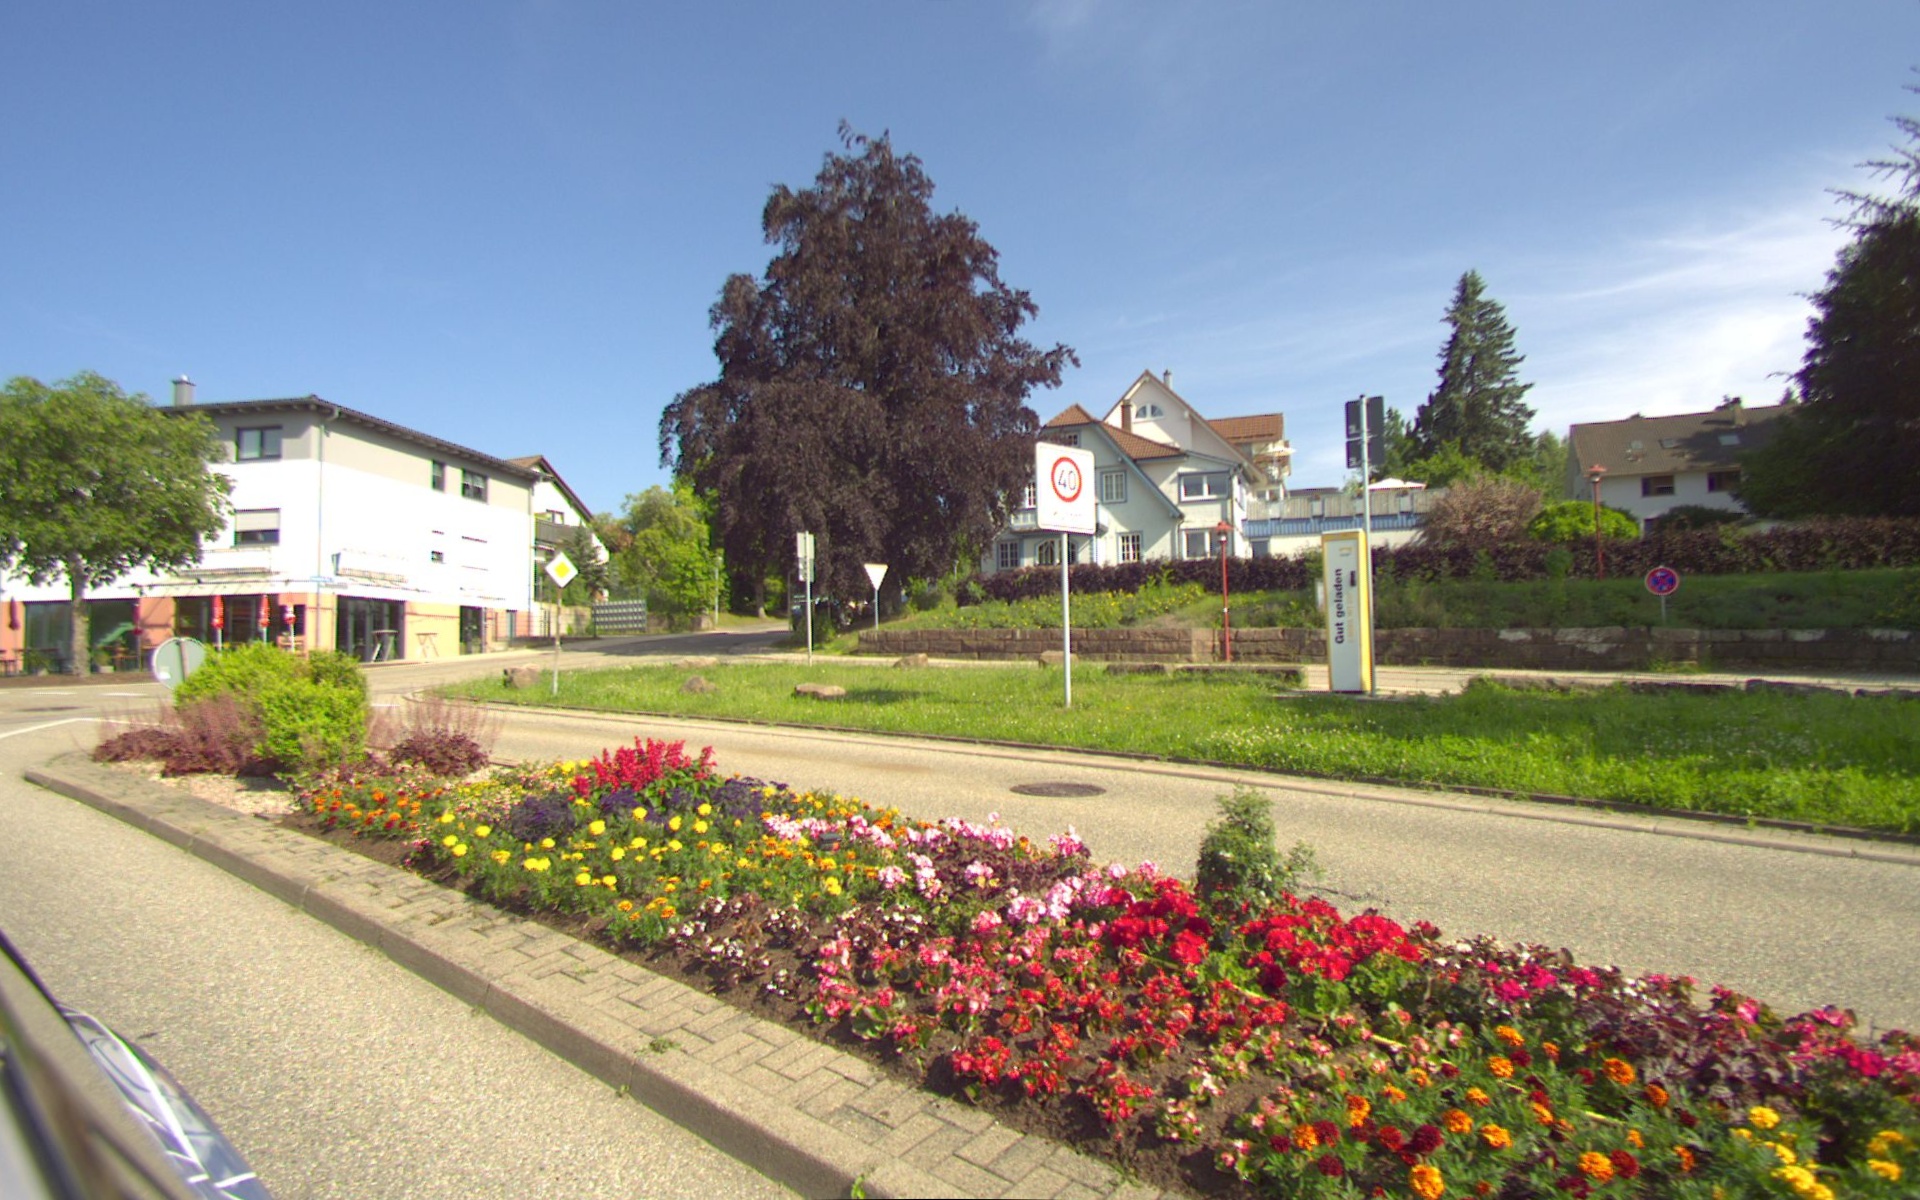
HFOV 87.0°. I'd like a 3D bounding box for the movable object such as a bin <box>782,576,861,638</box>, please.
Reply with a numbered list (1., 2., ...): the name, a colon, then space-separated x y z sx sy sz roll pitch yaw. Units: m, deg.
1. movable object such as a bin: -6.520 0.328 48.396 1.981 2.790 5.081 -1 -1 14
